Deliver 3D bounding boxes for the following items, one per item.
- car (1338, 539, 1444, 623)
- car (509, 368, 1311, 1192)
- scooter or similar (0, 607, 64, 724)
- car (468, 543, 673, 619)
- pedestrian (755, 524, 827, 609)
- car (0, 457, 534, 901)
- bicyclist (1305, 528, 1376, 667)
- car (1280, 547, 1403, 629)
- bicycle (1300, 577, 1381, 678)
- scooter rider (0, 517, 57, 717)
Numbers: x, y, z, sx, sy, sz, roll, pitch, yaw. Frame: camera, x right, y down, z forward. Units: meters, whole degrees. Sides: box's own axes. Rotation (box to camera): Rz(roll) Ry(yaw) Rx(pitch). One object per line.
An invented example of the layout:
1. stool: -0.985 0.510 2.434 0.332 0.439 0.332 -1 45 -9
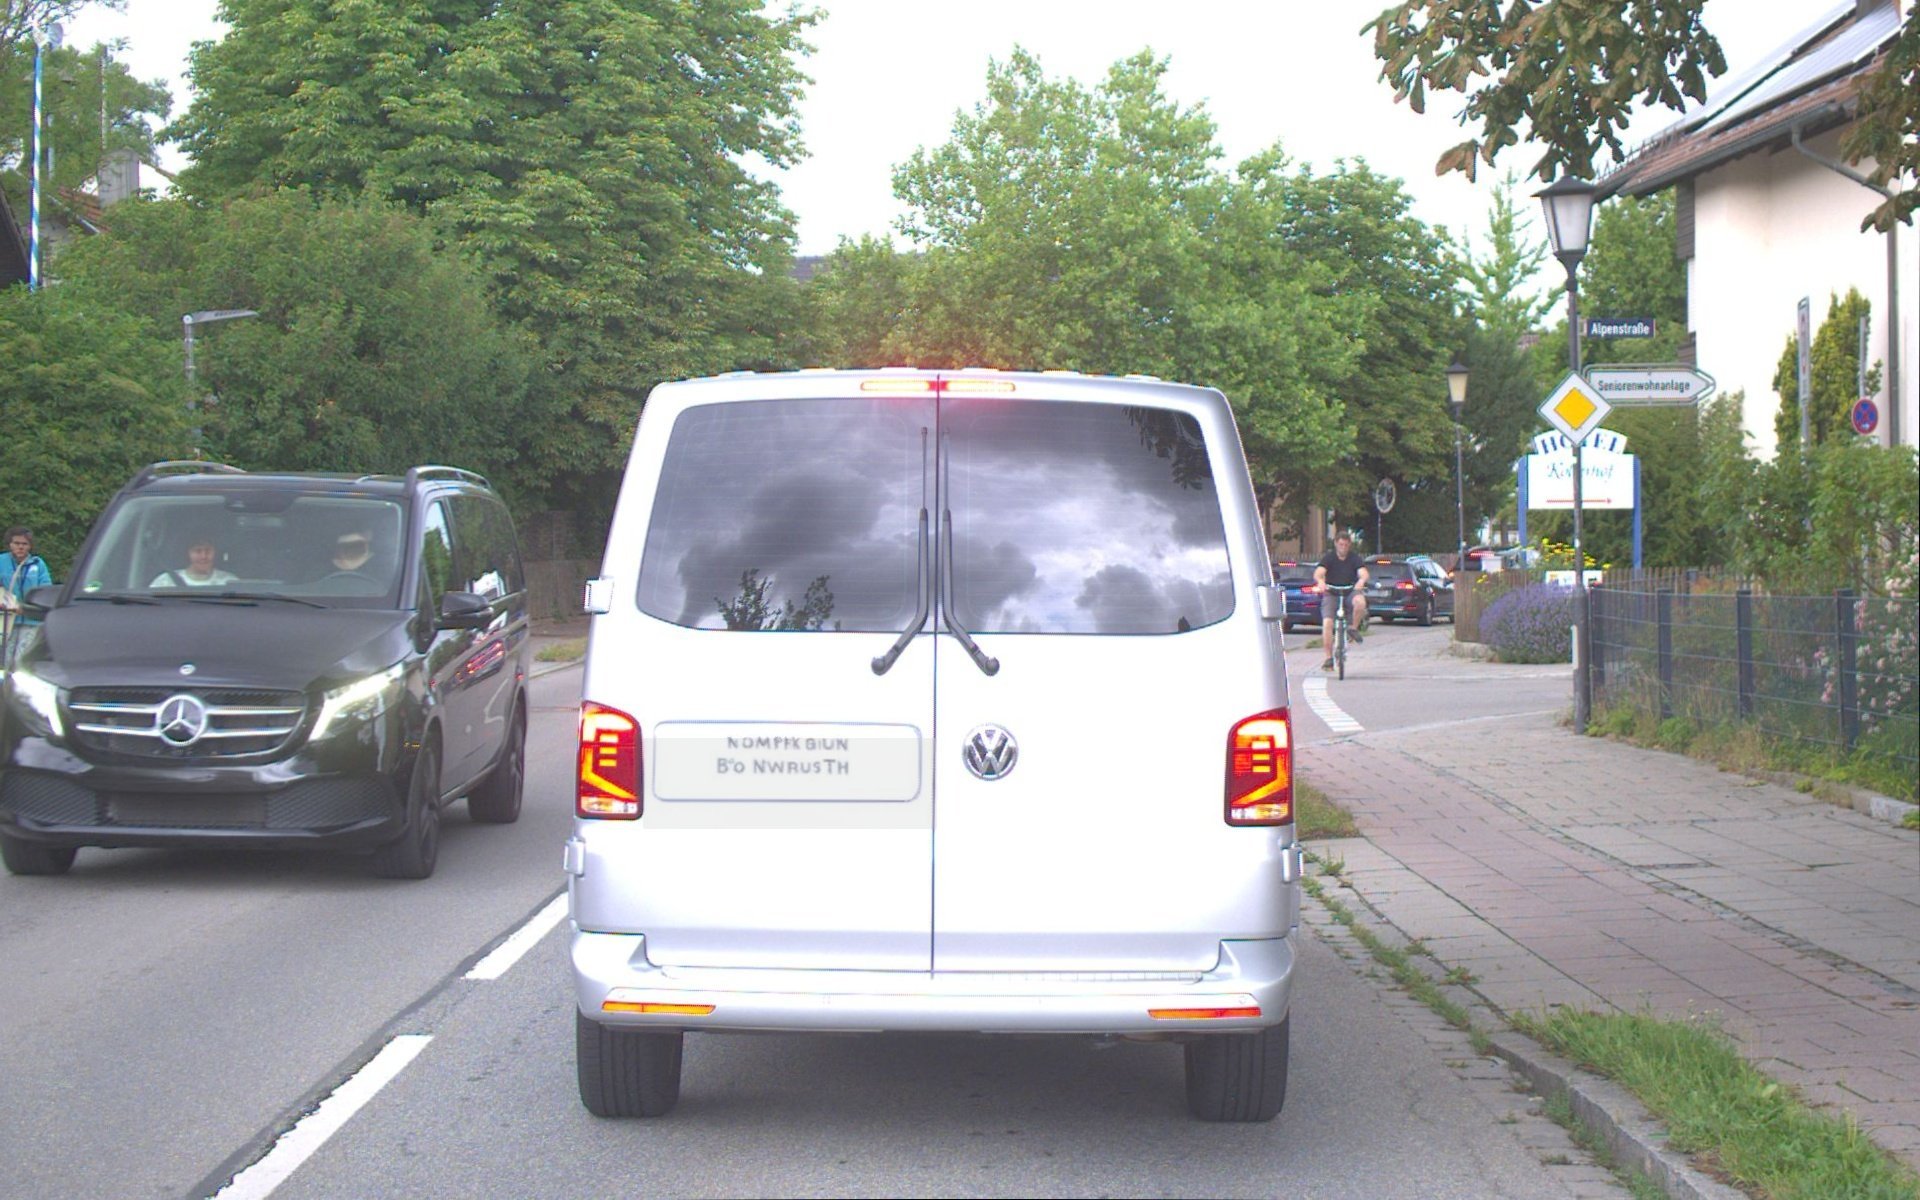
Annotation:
1. car: 9.242 -0.422 73.436 1.882 1.742 4.078 0 1 12
2. car: -0.100 0.394 10.049 1.881 1.934 3.921 0 1 1
3. scooter or similar: -7.167 0.483 25.956 0.521 0.847 1.061 0 1 0
4. car: -7.760 -0.381 68.361 3.986 1.481 2.001 0 1 -8
5. pedestrian: -3.594 -0.712 73.078 1.318 1.796 1.069 0 1 -17
6. car: -3.377 0.295 17.073 1.964 1.847 4.948 1 1 -1
7. bicyclist: 4.485 -0.036 40.572 0.736 1.627 0.890 0 1 1
8. car: 7.398 -0.249 66.411 1.882 1.530 3.918 0 1 14
9. bicycle: 4.467 0.314 40.450 0.764 1.139 1.845 0 1 0
10. scooter rider: -7.158 0.122 25.945 0.502 1.484 0.716 0 1 0
